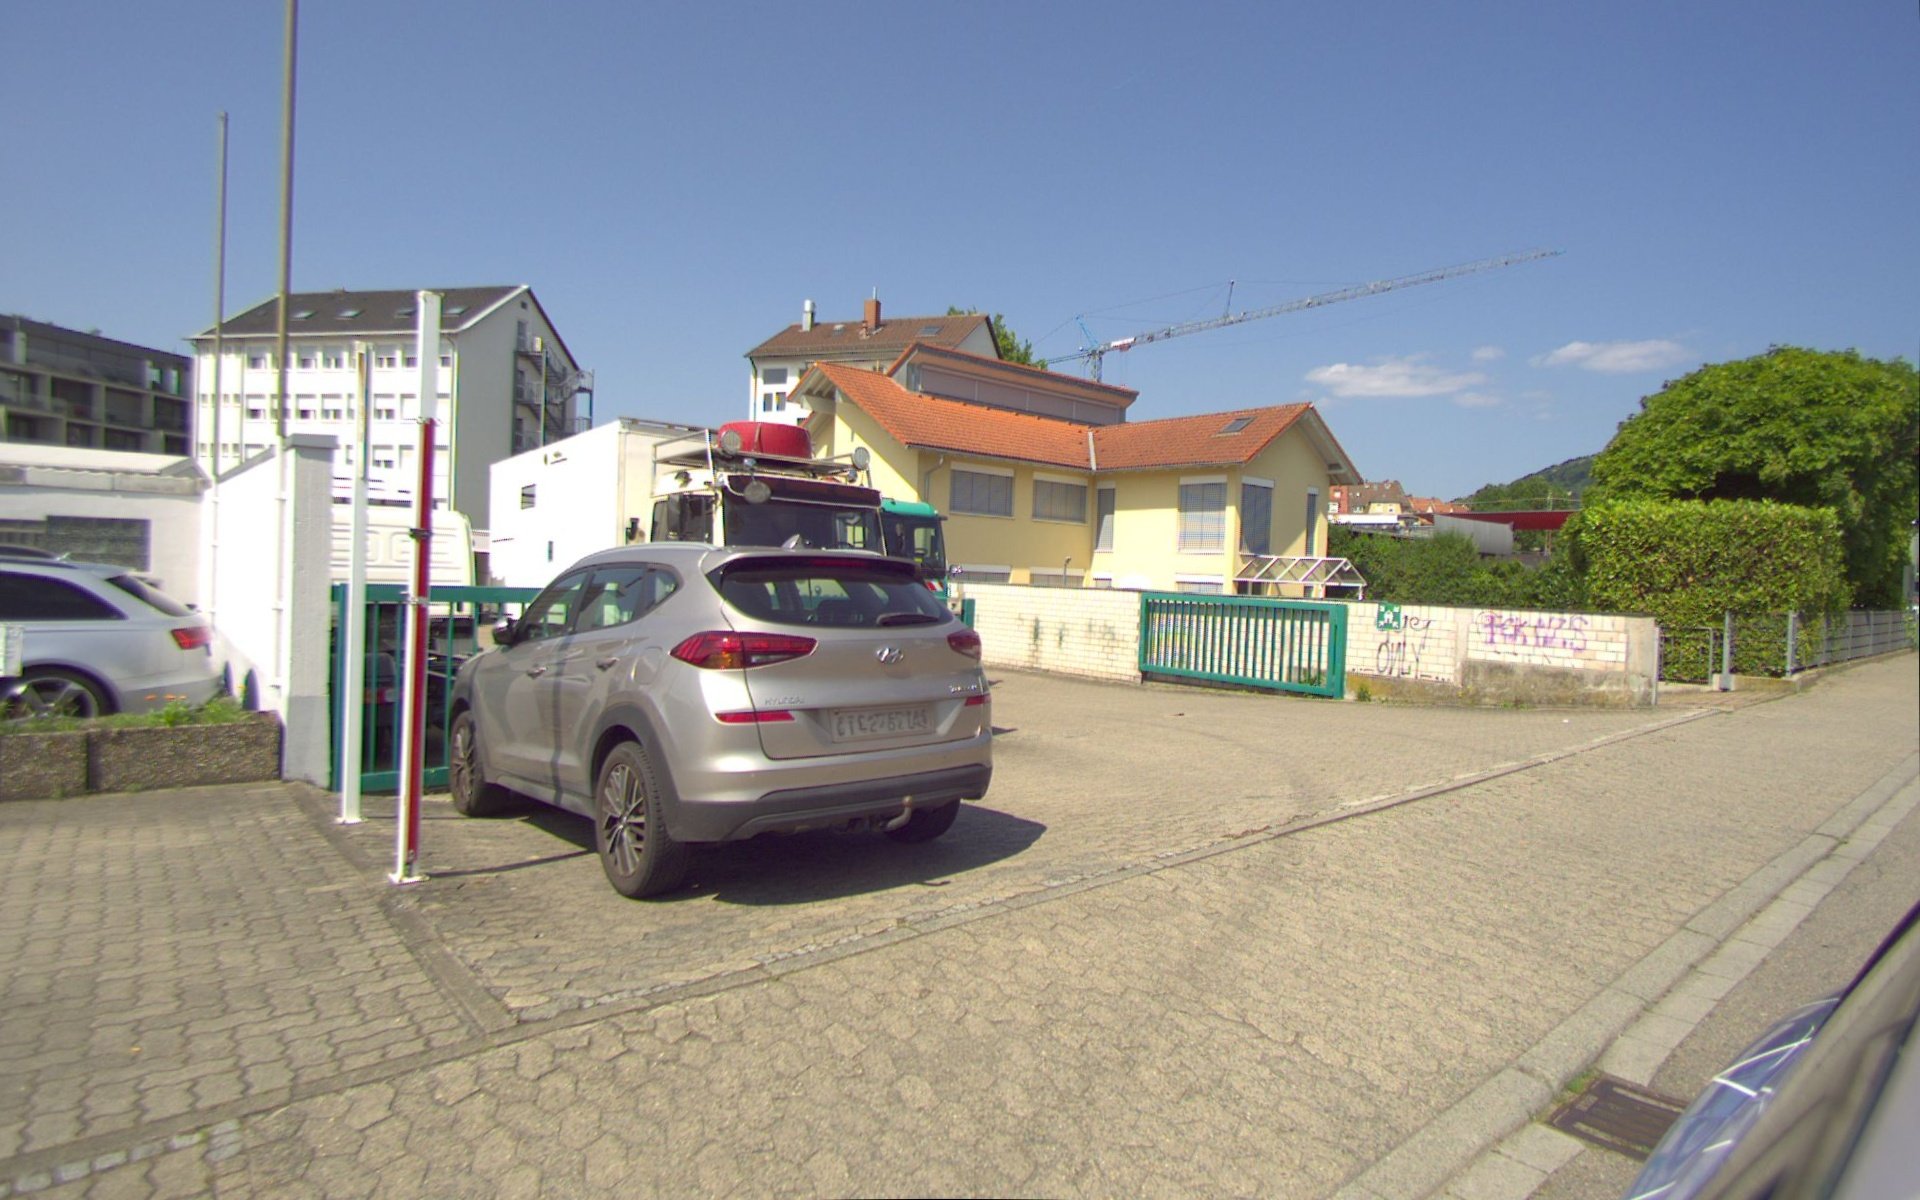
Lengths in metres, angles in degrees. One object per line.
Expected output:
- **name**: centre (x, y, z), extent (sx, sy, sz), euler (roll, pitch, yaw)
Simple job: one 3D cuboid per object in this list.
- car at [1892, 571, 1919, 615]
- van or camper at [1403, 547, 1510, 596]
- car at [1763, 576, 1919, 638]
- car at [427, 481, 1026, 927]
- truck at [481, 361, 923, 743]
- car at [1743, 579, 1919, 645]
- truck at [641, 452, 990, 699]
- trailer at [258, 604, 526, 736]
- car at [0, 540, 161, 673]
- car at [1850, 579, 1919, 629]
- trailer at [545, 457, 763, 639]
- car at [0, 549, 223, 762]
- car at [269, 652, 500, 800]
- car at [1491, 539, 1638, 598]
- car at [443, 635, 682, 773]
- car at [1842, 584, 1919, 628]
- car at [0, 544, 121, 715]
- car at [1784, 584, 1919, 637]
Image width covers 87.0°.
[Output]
- **car**: centre (42.113, -0.274, 42.561), extent (4.205, 1.804, 1.855), euler (0, 2, -4)
- **van or camper**: centre (26.442, -1.543, 54.119), extent (4.874, 2.466, 1.987), euler (2, 2, 20)
- **car**: centre (26.764, 0.178, 29.955), extent (1.865, 1.546, 4.411), euler (-2, 5, -42)
- **car**: centre (-1.710, 0.456, 6.050), extent (1.736, 1.704, 4.207), euler (-1, -2, -40)
- **truck**: centre (-3.753, -0.383, 12.891), extent (2.482, 3.467, 7.532), euler (0, -1, -39)
- **car**: centre (24.910, 0.286, 28.368), extent (1.812, 1.674, 4.410), euler (-1, 3, -42)
- **truck**: centre (-3.172, -0.498, 19.191), extent (2.899, 3.656, 8.300), euler (0, 2, -37)
- **trailer**: centre (-7.673, 0.734, 13.325), extent (2.257, 1.211, 5.476), euler (0, 1, -38)
- **car**: centre (-11.484, 0.032, 11.292), extent (3.952, 1.409, 1.892), euler (0, 3, -37)
- **car**: centre (33.207, 0.156, 34.732), extent (1.729, 1.644, 3.809), euler (1, 1, -41)
- **trailer**: centre (-8.193, -1.292, 26.134), extent (3.009, 3.910, 8.365), euler (0, 2, -34)
- **car**: centre (-7.942, 0.357, 7.030), extent (4.381, 1.459, 1.888), euler (-1, 3, -44)
- **car**: centre (-5.032, 0.971, 8.706), extent (1.264, 0.926, 2.902), euler (0, -1, -39)
- **car**: centre (29.655, -1.605, 49.940), extent (5.963, 2.711, 2.238), euler (3, 3, 28)
- **car**: centre (-3.803, 0.865, 9.456), extent (1.264, 1.016, 2.902), euler (0, -1, -39)
- **car**: centre (31.051, 0.216, 32.794), extent (1.532, 1.351, 3.556), euler (0, 2, -41)
- **car**: centre (-10.041, 0.223, 8.808), extent (4.110, 1.459, 1.892), euler (0, 3, -37)
- **car**: centre (28.754, 0.305, 31.600), extent (1.864, 1.515, 4.412), euler (-1, 3, -40)
